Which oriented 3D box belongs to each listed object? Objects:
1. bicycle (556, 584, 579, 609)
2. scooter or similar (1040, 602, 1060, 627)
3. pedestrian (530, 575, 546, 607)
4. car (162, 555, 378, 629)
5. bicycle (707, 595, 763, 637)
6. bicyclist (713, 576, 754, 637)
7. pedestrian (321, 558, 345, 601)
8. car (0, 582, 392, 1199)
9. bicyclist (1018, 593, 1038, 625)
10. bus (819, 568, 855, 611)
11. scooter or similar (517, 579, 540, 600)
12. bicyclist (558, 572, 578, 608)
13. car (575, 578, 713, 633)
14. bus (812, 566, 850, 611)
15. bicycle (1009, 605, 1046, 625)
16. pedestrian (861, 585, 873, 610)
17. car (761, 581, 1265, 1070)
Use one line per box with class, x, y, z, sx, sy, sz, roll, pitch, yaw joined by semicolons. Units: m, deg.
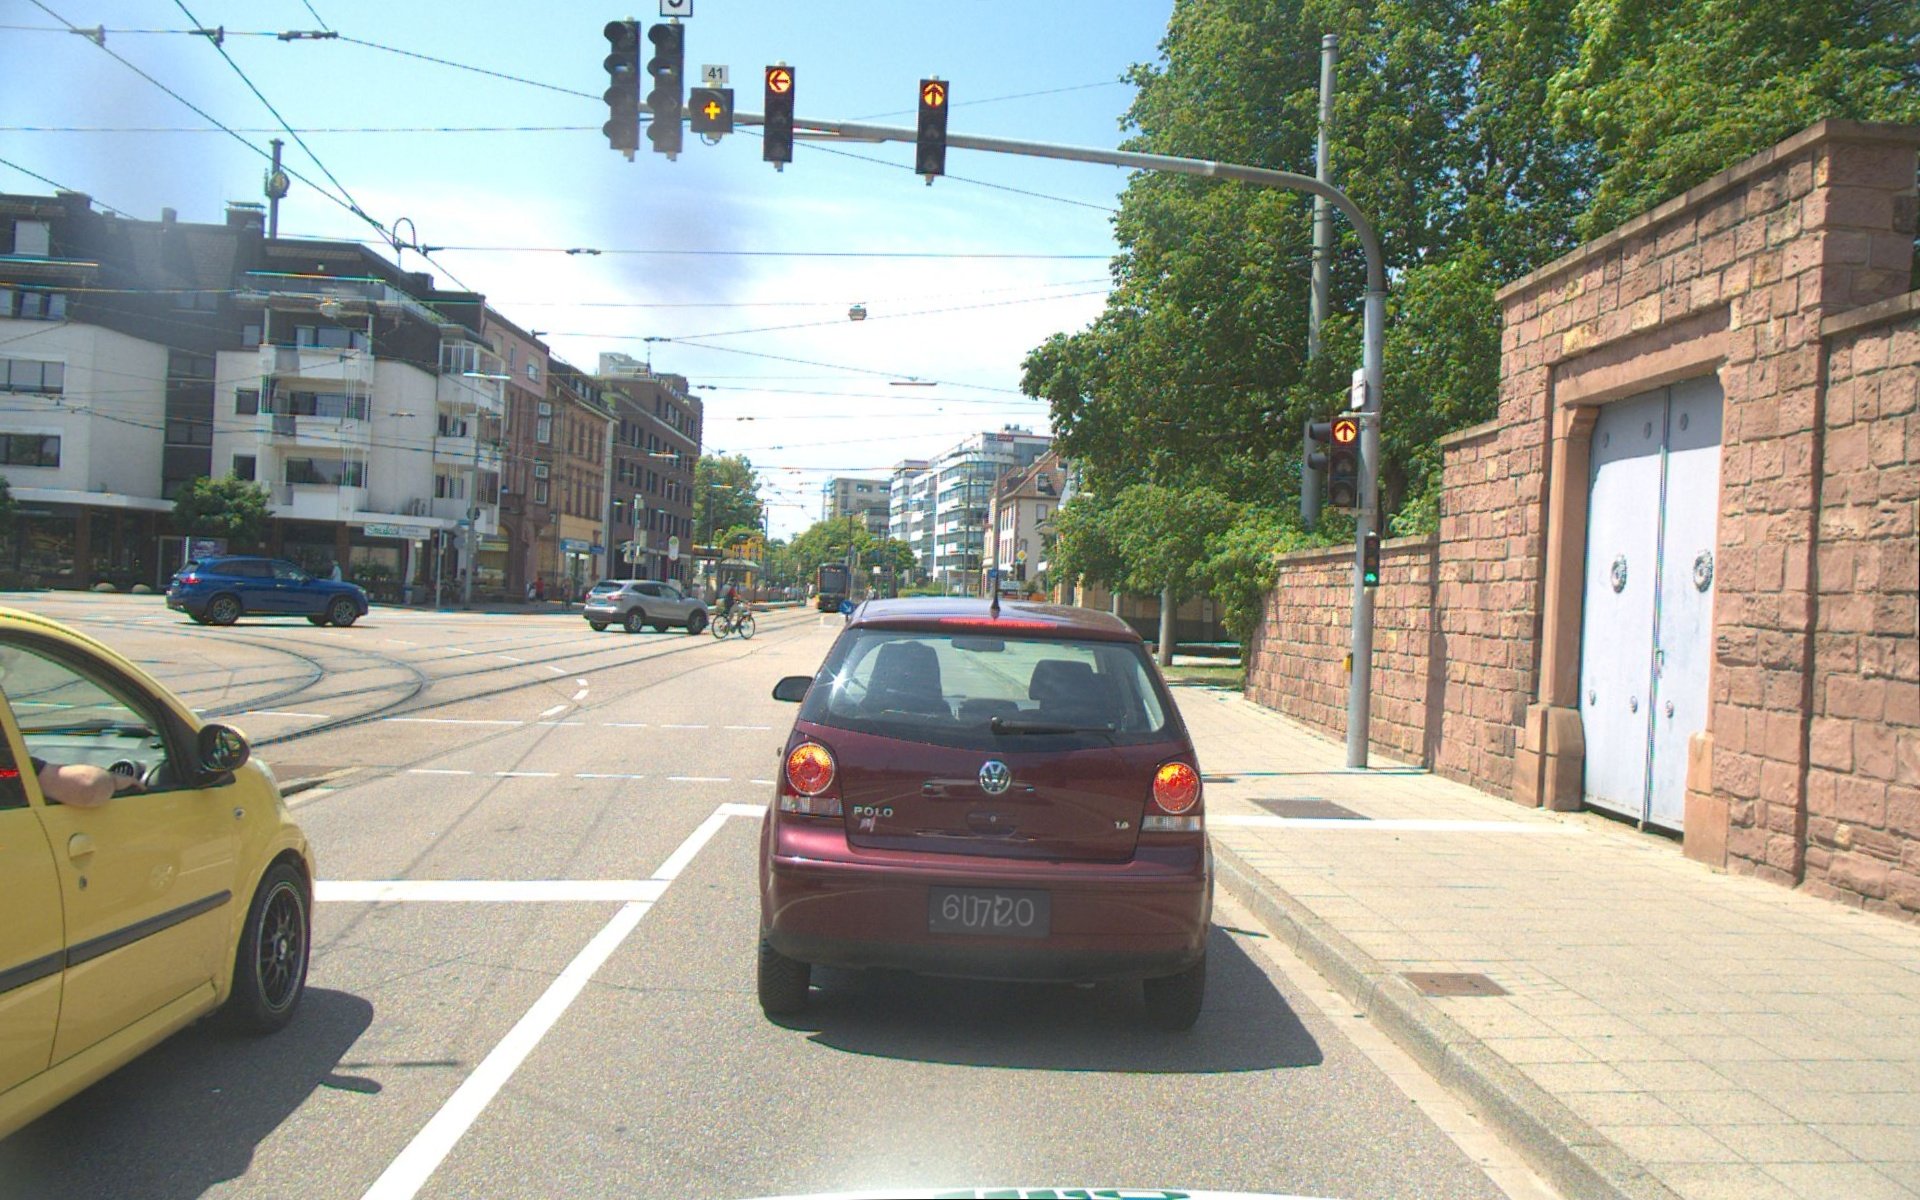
bicycle;-19.861;-0.183;83.725;0.680;1.169;1.931;2;1;-2
scooter or similar;4.551;0.716;83.482;0.335;1.198;1.456;2;0;-25
pedestrian;-21.634;-0.453;84.799;0.602;1.588;0.640;2;0;-2
car;-17.170;-0.191;41.258;4.587;1.653;1.972;2;0;-40
bicycle;-6.729;0.478;49.461;0.369;1.218;1.896;2;0;38
bicyclist;-6.772;0.201;49.401;0.716;1.791;0.919;2;0;38
pedestrian;-25.826;-0.829;68.143;0.792;1.726;0.698;2;0;-16
car;-2.880;0.687;4.393;1.583;1.446;3.654;0;0;-2
bicyclist;3.597;0.492;86.972;0.839;1.646;0.835;-1;1;17
bus;-9.257;-0.799;125.135;2.187;3.055;6.593;2;0;0
scooter or similar;-23.878;-0.578;91.512;0.477;1.101;1.578;2;0;15
bicyclist;-19.855;-0.500;83.748;0.680;1.796;1.137;2;1;-2
car;-9.755;0.183;51.266;1.794;1.556;3.982;2;0;37
bus;-9.230;-0.826;118.562;2.101;3.055;6.573;2;0;0
bicycle;3.572;0.805;86.997;1.818;1.020;0.671;-1;1;17
pedestrian;-6.577;-0.189;117.285;0.747;1.704;1.100;2;0;-1
car;0.124;0.707;6.722;1.530;1.479;3.060;2;0;-2
